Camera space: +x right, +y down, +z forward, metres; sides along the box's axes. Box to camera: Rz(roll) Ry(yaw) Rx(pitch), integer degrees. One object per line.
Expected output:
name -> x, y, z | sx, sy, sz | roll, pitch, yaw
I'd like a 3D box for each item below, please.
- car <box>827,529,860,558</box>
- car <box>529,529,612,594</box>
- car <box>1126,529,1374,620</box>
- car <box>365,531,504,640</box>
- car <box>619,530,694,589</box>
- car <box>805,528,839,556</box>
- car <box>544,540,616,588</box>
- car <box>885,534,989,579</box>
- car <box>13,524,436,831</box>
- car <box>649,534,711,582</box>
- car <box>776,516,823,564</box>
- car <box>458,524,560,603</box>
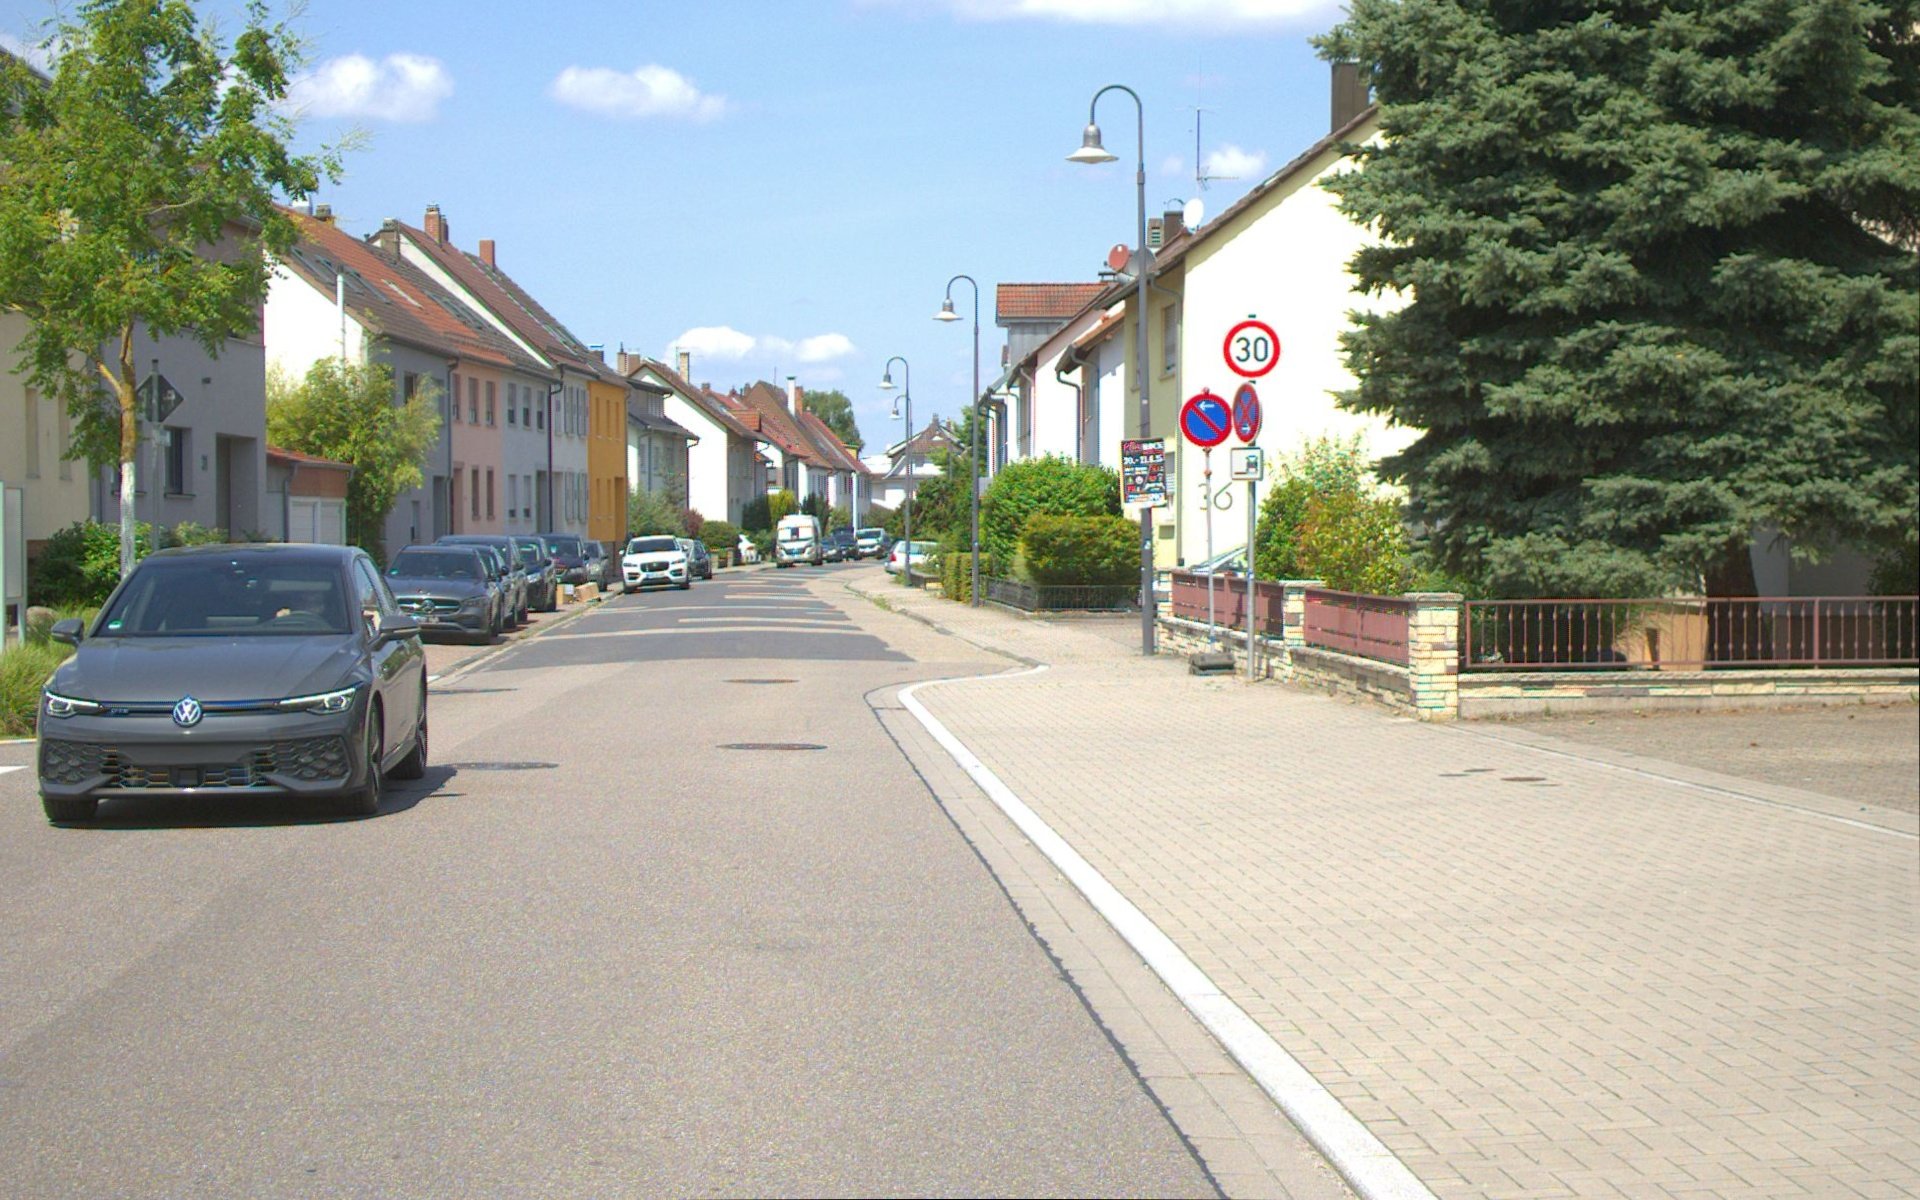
car -> -6.832, -3.302, 201.626 | 1.691, 1.654, 3.771 | 1, 0, 1
car -> -10.033, -1.010, 88.862 | 1.810, 1.603, 4.000 | 2, 1, -2
car -> 4.894, -0.443, 58.285 | 3.986, 1.468, 1.746 | -1, 1, -2
car -> -8.076, -0.253, 53.150 | 1.816, 1.428, 4.141 | 3, 2, -6
car -> -8.992, -1.213, 102.071 | 1.850, 1.653, 4.000 | 2, 1, 0
car -> -7.777, -3.264, 194.106 | 1.691, 1.498, 3.771 | 1, 0, 1
car -> -11.147, -1.063, 101.001 | 1.672, 1.331, 3.722 | 2, 1, 0
car -> -0.802, -1.479, 118.270 | 3.523, 1.459, 1.628 | 1, 0, -2
car -> -4.088, 0.359, 19.702 | 1.762, 1.517, 4.050 | -2, 1, -4
car -> -10.019, -1.518, 123.064 | 1.850, 1.653, 4.000 | 2, 1, 0
car -> -8.010, -2.984, 171.817 | 2.045, 2.304, 3.771 | 1, 0, 1
car -> -9.686, -0.806, 74.080 | 1.779, 1.603, 4.000 | 2, 1, -2
